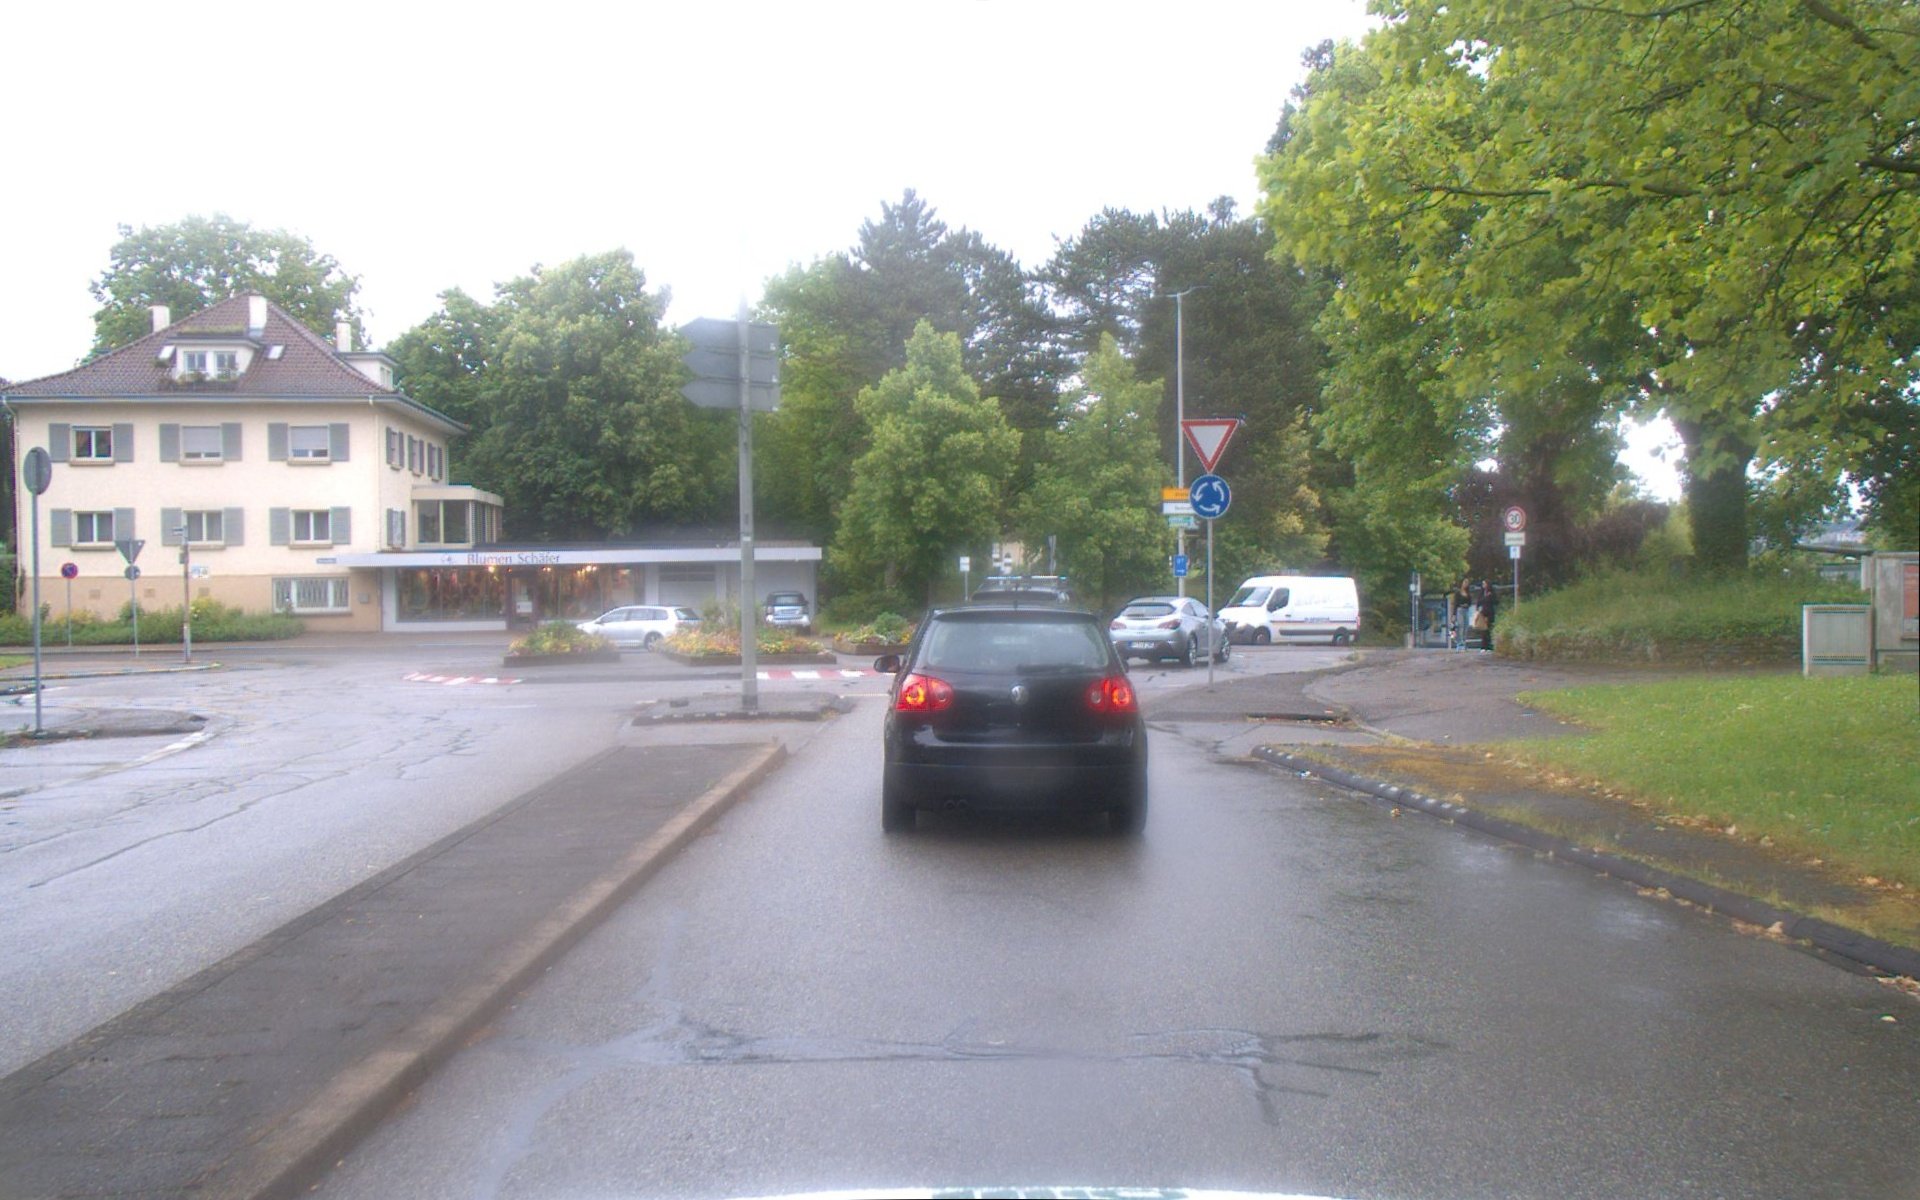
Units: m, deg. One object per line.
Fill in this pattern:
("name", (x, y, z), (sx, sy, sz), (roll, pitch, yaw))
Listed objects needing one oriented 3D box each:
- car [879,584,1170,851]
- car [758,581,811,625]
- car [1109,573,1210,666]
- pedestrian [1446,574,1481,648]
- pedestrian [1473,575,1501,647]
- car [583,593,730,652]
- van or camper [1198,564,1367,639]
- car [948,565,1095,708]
("car", (0.527, 0.713, 11.876), (1.727, 1.565, 4.002), (1, 0, 4))
("car", (-6.490, 0.096, 61.001), (1.779, 1.512, 3.824), (-2, 0, -8))
("car", (4.387, 0.400, 35.925), (1.727, 1.833, 4.250), (-2, 0, 12))
("pedestrian", (11.924, 0.256, 39.162), (0.519, 1.743, 0.633), (1, -1, -16))
("pedestrian", (12.717, 0.264, 39.907), (0.620, 1.743, 0.530), (0, -1, 15))
("car", (-9.421, 0.680, 51.356), (4.045, 1.772, 2.000), (0, -1, 21))
("van or camper", (10.904, 0.093, 55.772), (5.590, 2.420, 2.179), (1, -1, -30))
("car", (0.794, 0.494, 23.956), (1.729, 1.833, 4.244), (-2, 0, -3))
